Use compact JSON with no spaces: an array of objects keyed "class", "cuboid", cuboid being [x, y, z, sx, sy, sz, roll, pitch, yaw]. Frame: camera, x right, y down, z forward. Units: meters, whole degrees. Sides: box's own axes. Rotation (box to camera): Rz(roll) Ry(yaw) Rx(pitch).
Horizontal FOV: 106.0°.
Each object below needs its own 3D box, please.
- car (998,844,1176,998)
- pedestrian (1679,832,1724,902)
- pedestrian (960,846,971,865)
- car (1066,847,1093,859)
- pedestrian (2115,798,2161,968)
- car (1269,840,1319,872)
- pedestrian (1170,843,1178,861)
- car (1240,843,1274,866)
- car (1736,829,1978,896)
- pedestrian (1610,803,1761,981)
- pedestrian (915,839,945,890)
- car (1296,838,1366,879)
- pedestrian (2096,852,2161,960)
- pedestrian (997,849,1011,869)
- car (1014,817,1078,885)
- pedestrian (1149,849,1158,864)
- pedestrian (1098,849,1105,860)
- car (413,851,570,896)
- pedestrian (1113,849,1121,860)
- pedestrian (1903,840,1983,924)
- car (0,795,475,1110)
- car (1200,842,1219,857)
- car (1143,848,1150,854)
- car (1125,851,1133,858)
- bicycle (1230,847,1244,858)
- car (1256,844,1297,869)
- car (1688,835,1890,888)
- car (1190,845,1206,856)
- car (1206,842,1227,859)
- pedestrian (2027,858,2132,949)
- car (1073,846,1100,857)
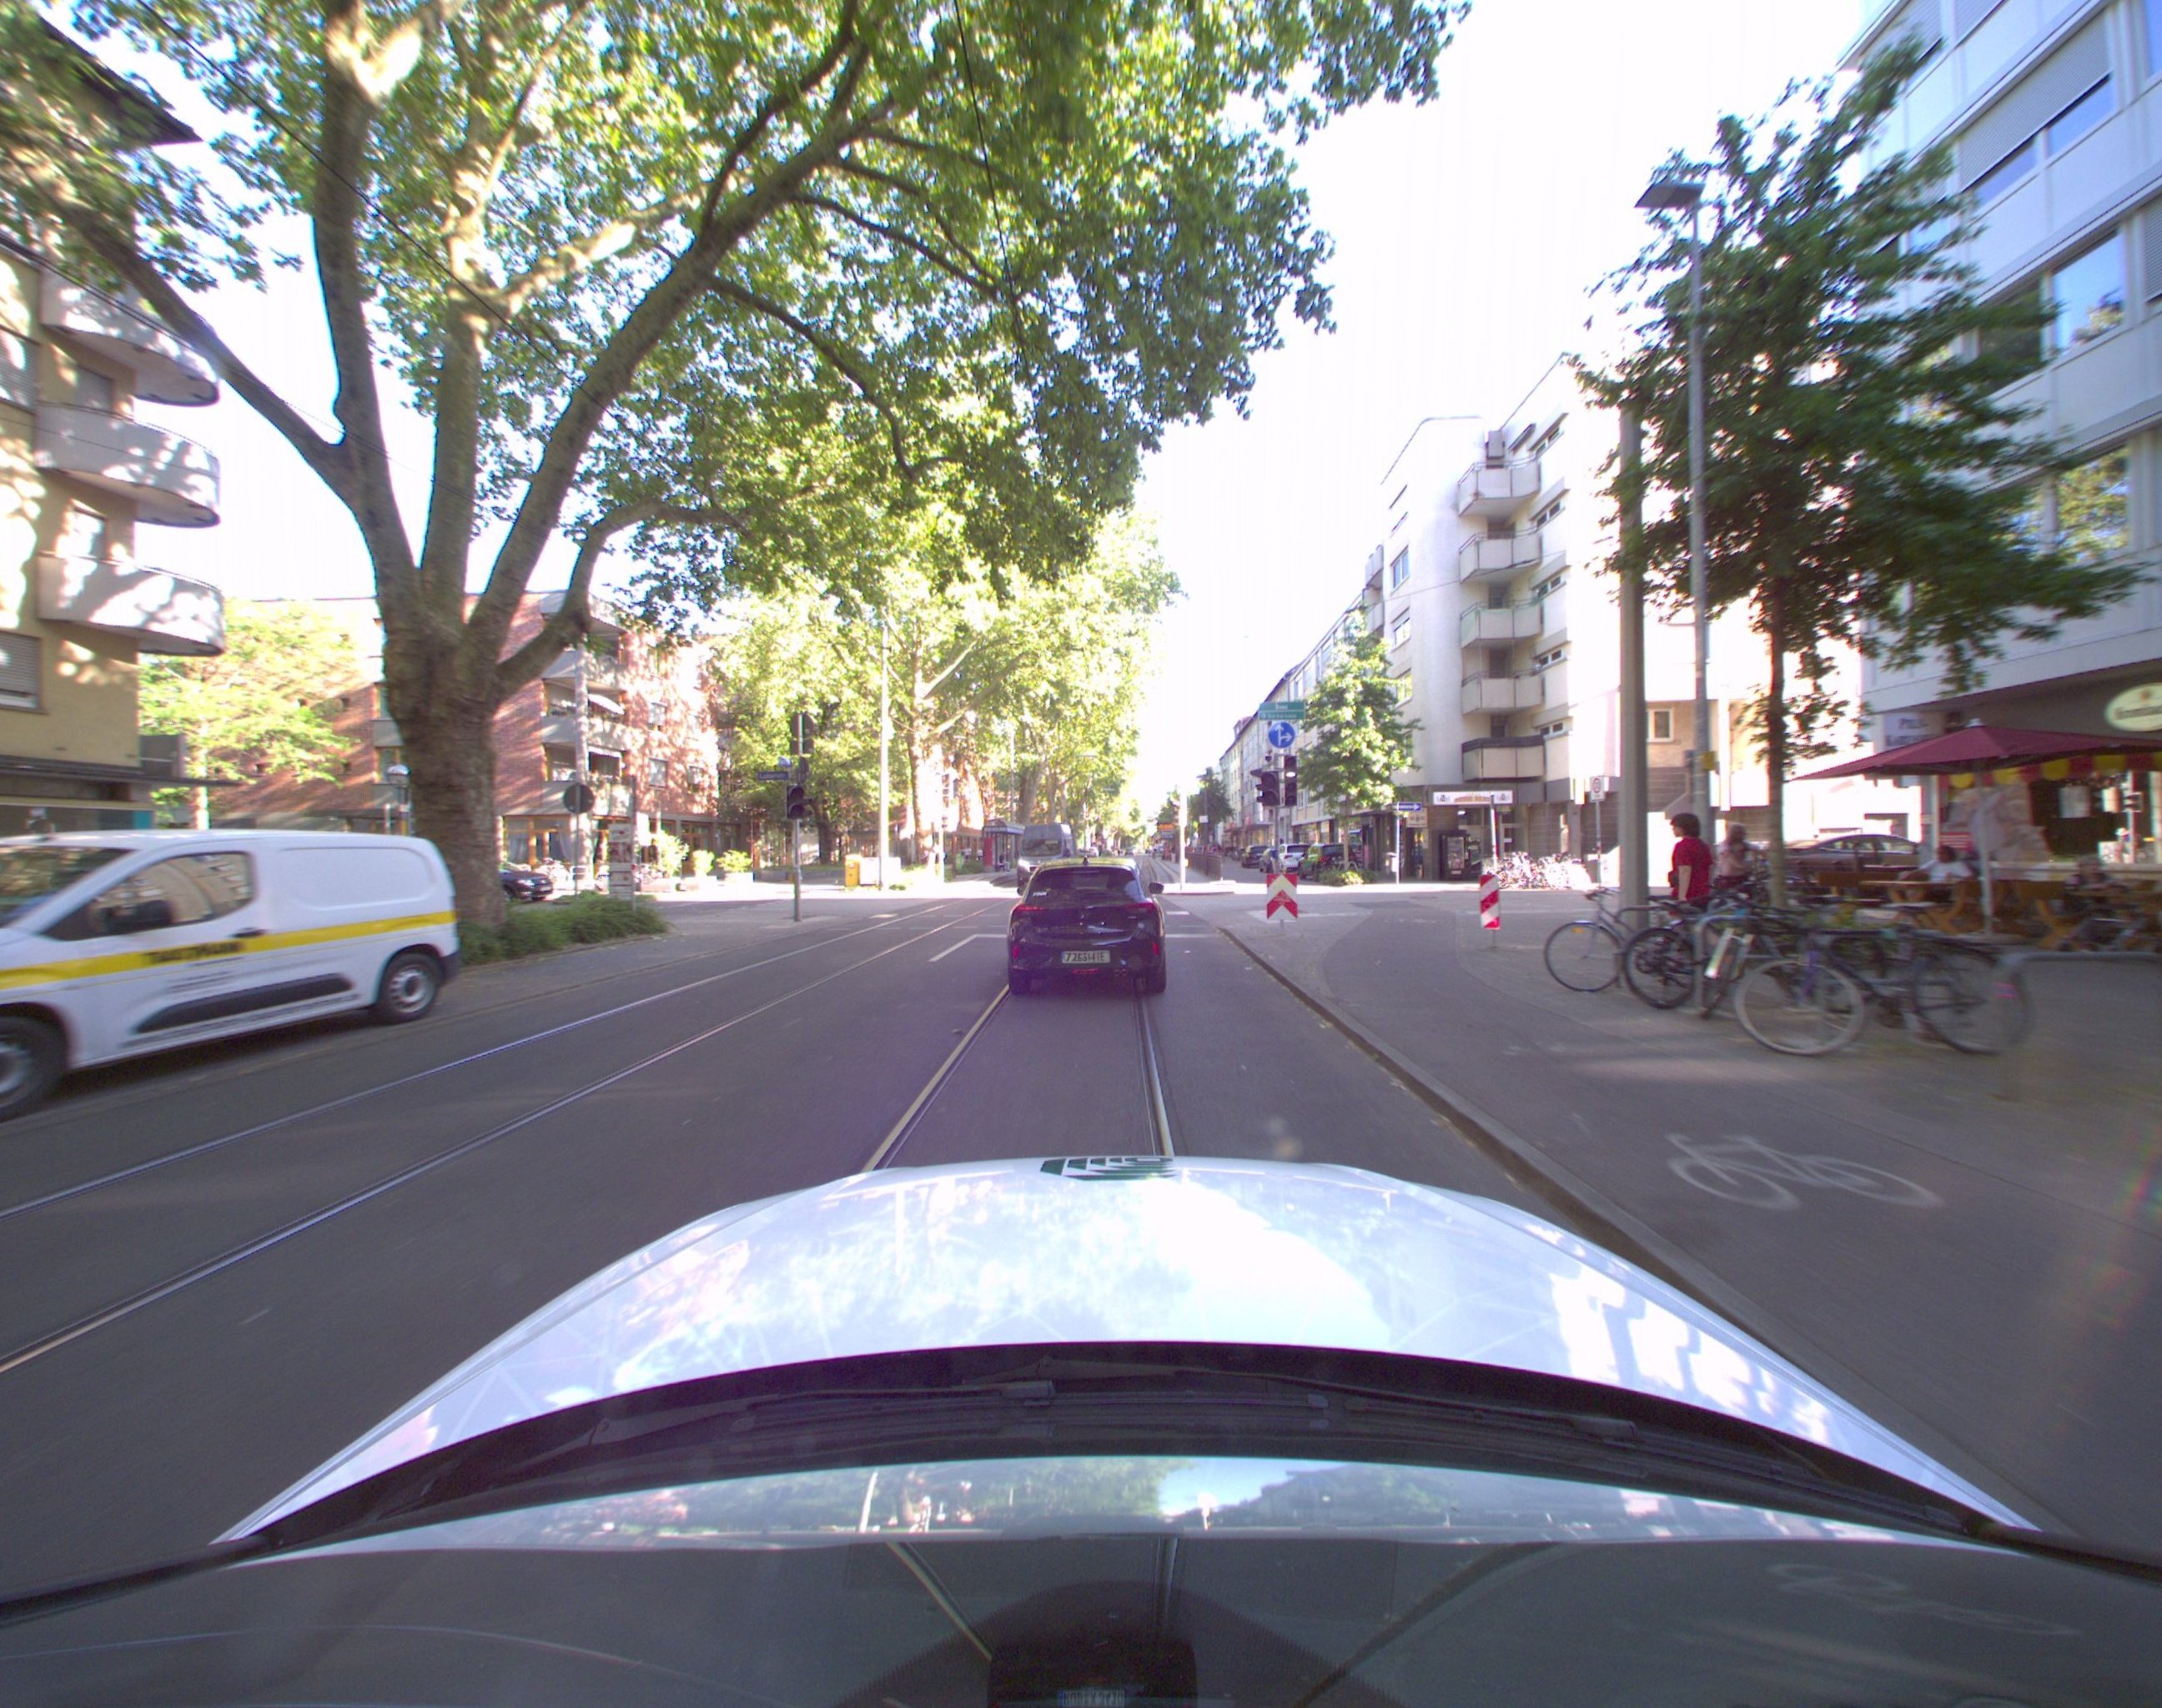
[{"class":"car","cuboid":[0.132,0.677,10.008,1.753,1.508,3.685,-1,0,2]},{"class":"pedestrian","cuboid":[14.062,0.295,18.460,0.548,1.562,0.646,0,-1,8]},{"class":"pedestrian","cuboid":[-10.099,0.141,71.145,0.732,1.672,0.862,0,0,4]},{"class":"car","cuboid":[-0.240,-0.136,123.918,4.104,1.701,1.882,0,0,-3]},{"class":"pedestrian","cuboid":[10.901,0.282,7.955,0.679,1.659,0.809,0,0,-19]},{"class":"car","cuboid":[11.173,0.106,43.011,1.791,1.606,4.420,0,0,4]},{"class":"pedestrian","cuboid":[8.346,-0.178,73.278,0.628,1.576,0.872,2,0,4]},{"class":"car","cuboid":[12.686,0.048,58.955,1.848,1.615,4.403,0,0,4]},{"class":"car","cuboid":[19.194,0.214,20.278,4.238,1.592,1.965,0,-1,-2]},{"class":"pedestrian","cuboid":[6.447,0.380,8.718,0.880,1.758,1.038,0,0,-29]},{"class":"pedestrian","cuboid":[-5.554,0.381,29.975,0.921,1.835,0.920,0,2,0]},{"class":"car","cuboid":[10.915,0.195,35.846,1.984,1.615,4.450,-1,0,4]},{"class":"pedestrian","cuboid":[12.022,0.563,9.114,0.656,1.175,0.522,0,0,2]},{"class":"pedestrian","cuboid":[-4.515,0.298,47.950,0.702,1.168,0.660,-2,0,1]},{"class":"car","cuboid":[-1.466,-0.121,36.829,2.104,2.738,6.122,-2,0,4]},{"class":"pedestrian","cuboid":[8.206,0.279,92.352,0.742,1.709,0.768,0,0,39]},{"class":"pedestrian","cuboid":[3.209,0.034,126.664,1.160,1.748,0.958,0,0,-1]},{"class":"car","cuboid":[-20.265,0.647,28.121,3.970,1.508,2.002,0,0,3]},{"class":"pedestrian","cuboid":[5.543,0.035,125.934,1.160,1.748,0.958,0,0,-1]},{"class":"pedestrian","cuboid":[13.608,0.437,12.876,0.533,1.287,0.716,0,0,5]},{"class":"car","cuboid":[-7.184,0.581,6.202,1.756,1.850,4.321,0,0,2]},{"class":"car","cuboid":[15.737,-0.547,99.964,1.985,1.797,4.004,0,0,4]},{"class":"car","cuboid":[18.313,-0.828,227.643,1.738,1.544,4.003,0,0,3]},{"class":"car","cuboid":[10.879,0.105,185.882,1.738,1.544,4.003,0,0,3]},{"class":"bicycle","cuboid":[16.040,-0.160,83.734,0.610,1.136,2.914,0,0,-7]},{"class":"car","cuboid":[11.587,0.164,48.527,1.736,1.440,4.252,0,0,4]},{"class":"car","cuboid":[22.014,0.201,25.469,4.563,1.477,1.874,-1,2,4]},{"class":"car","cuboid":[16.127,-0.508,112.216,1.984,1.486,4.005,0,0,4]},{"class":"car","cuboid":[15.468,-0.420,93.309,1.985,1.952,4.004,0,0,4]},{"class":"pedestrian","cuboid":[12.160,0.583,9.931,0.639,1.079,0.522,0,0,2]},{"class":"car","cuboid":[0.954,-0.414,135.656,4.375,1.851,1.998,0,0,-3]}]
